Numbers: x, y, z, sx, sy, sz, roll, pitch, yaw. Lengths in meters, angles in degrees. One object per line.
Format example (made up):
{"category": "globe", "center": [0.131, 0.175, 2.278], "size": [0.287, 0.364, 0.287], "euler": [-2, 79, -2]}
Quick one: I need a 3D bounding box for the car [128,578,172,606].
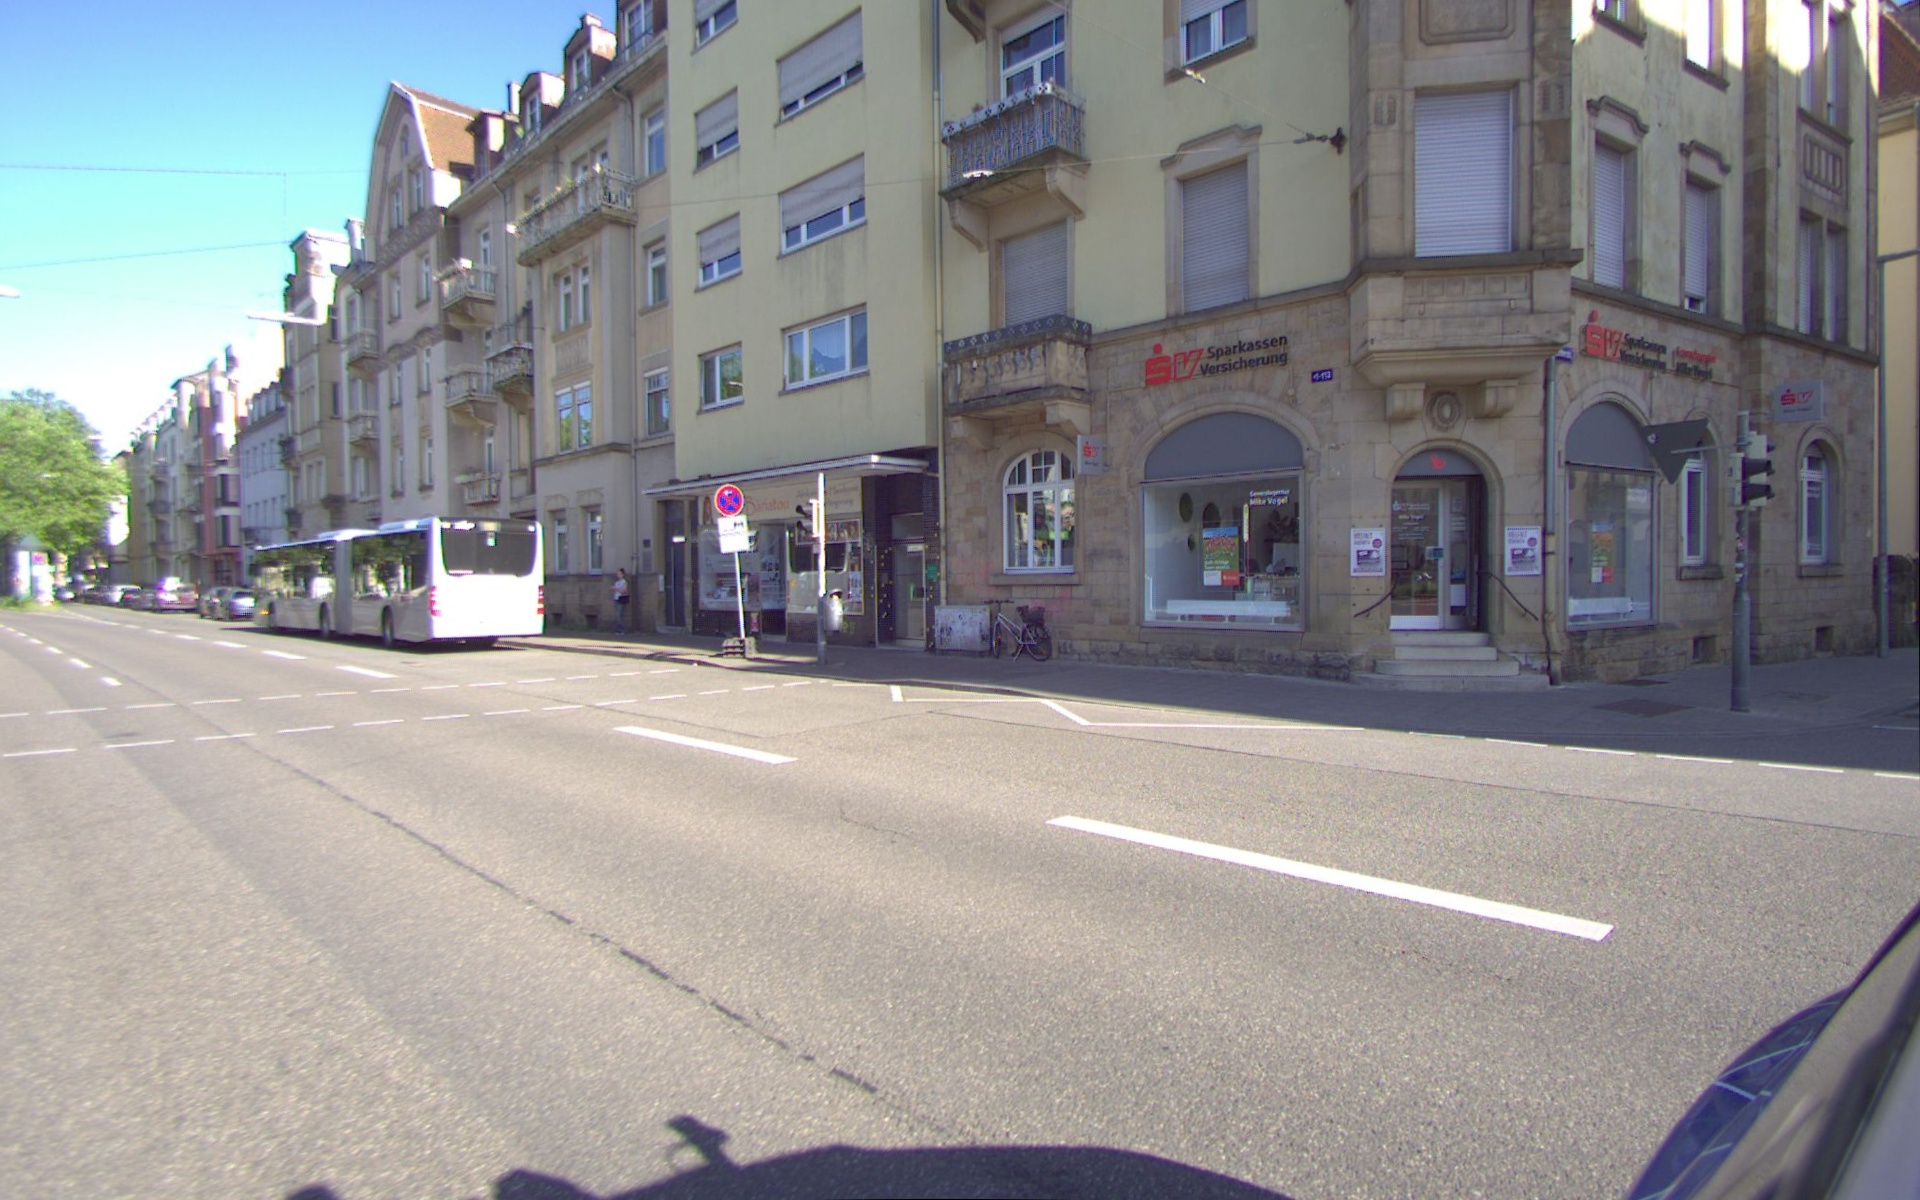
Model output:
{"category": "car", "center": [-53.802, -0.562, 67.191], "size": [3.986, 1.812, 1.773], "euler": [1, 2, 43]}

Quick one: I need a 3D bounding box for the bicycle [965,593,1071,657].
{"category": "bicycle", "center": [0.969, 0.400, 17.259], "size": [0.508, 0.987, 1.948], "euler": [-6, 4, -44]}

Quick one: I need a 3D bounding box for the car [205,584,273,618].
{"category": "car", "center": [-32.674, 0.016, 45.827], "size": [3.985, 1.438, 1.725], "euler": [1, 2, 43]}

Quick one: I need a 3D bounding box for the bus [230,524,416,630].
{"category": "bus", "center": [-21.769, -0.749, 34.167], "size": [3.045, 3.054, 10.835], "euler": [-1, 2, -45]}

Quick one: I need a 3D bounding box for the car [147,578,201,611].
{"category": "car", "center": [-47.588, -0.371, 61.241], "size": [3.986, 1.918, 1.999], "euler": [1, 2, 43]}

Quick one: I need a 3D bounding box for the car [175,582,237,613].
{"category": "car", "center": [-36.983, -0.134, 49.592], "size": [3.985, 1.438, 1.725], "euler": [1, 2, 43]}

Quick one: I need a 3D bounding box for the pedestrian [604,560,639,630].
{"category": "pedestrian", "center": [-8.998, -0.150, 26.884], "size": [0.696, 1.825, 0.521], "euler": [-2, 2, -41]}

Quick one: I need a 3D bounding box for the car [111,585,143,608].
{"category": "car", "center": [-61.097, -0.263, 74.245], "size": [1.536, 1.626, 3.566], "euler": [-1, 2, -44]}

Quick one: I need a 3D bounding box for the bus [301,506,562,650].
{"category": "bus", "center": [-14.197, -0.563, 26.510], "size": [3.083, 3.071, 10.654], "euler": [-1, 2, -45]}

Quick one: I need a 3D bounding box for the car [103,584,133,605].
{"category": "car", "center": [-64.849, -0.441, 77.933], "size": [1.536, 1.626, 3.566], "euler": [-1, 2, -44]}
